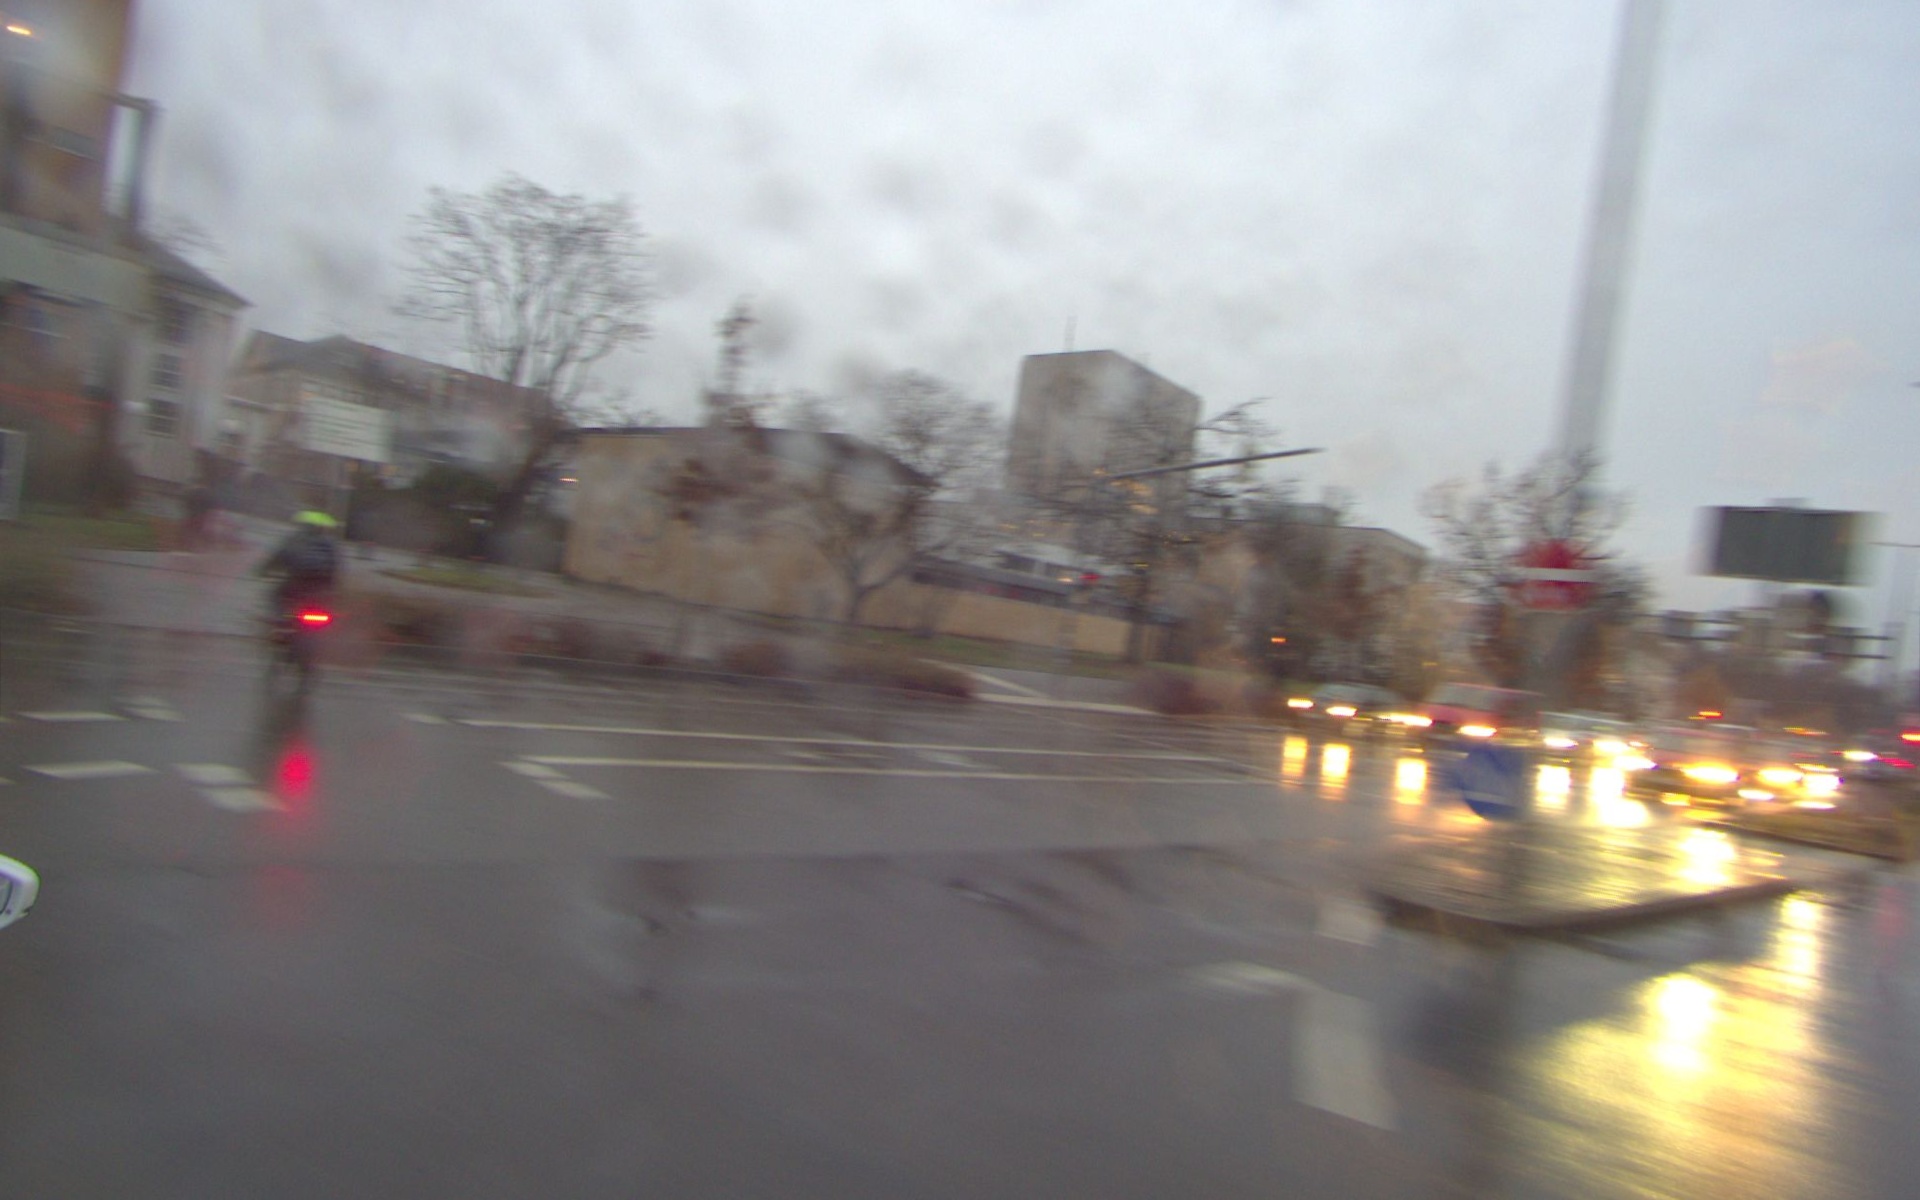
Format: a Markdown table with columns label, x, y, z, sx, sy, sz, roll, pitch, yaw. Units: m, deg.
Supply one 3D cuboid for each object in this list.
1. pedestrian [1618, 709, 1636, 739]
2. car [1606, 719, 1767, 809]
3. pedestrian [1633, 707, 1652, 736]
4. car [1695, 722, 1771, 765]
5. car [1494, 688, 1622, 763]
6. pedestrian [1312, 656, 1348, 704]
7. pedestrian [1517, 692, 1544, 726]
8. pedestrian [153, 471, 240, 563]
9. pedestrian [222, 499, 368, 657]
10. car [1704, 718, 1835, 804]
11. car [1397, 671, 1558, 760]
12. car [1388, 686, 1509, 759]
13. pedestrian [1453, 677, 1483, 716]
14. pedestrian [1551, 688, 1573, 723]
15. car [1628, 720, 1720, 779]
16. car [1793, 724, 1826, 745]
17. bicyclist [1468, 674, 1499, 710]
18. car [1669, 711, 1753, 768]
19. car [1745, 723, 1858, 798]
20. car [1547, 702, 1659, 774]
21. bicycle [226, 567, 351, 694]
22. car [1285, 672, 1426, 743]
| label | x | y | z | sx | sy | sz | roll | pitch | yaw |
| --- | --- | --- | --- | --- | --- | --- | --- | --- | --- |
| pedestrian | 48.731 | 9.062 | 73.497 | 0.768 | 2.039 | 0.756 | 7 | 2 | -44 |
| car | 15.838 | 3.517 | 21.828 | 4.471 | 1.393 | 1.907 | 8 | 1 | -43 |
| pedestrian | 45.021 | 8.010 | 66.359 | 0.931 | 1.822 | 0.616 | 8 | 1 | -41 |
| car | 36.875 | 6.841 | 47.931 | 4.733 | 1.587 | 1.974 | 8 | 2 | -43 |
| car | 17.952 | 3.783 | 30.119 | 4.443 | 1.771 | 1.975 | 8 | 1 | -43 |
| pedestrian | 15.661 | 3.370 | 42.568 | 0.829 | 1.848 | 0.921 | 7 | 2 | -43 |
| pedestrian | 33.543 | 6.405 | 59.131 | 0.829 | 1.848 | 0.921 | 7 | 2 | -43 |
| pedestrian | -16.243 | -1.758 | 21.407 | 0.895 | 1.708 | 0.928 | 11 | 1 | 18 |
| pedestrian | -6.317 | -0.204 | 9.553 | 0.837 | 1.333 | 0.873 | 10 | 2 | 43 |
| car | 21.876 | 4.299 | 27.116 | 4.443 | 1.771 | 1.975 | 8 | 1 | -43 |
| car | 13.395 | 3.015 | 25.894 | 4.915 | 1.771 | 1.975 | 8 | 1 | -43 |
| car | 15.925 | 4.007 | 32.720 | 3.974 | 1.860 | 1.976 | 9 | 0 | -42 |
| pedestrian | 26.365 | 5.023 | 52.248 | 0.829 | 1.848 | 0.921 | 7 | 2 | -43 |
| pedestrian | 37.506 | 6.581 | 62.657 | 0.905 | 2.039 | 0.756 | 7 | 2 | -44 |
| car | 27.518 | 5.768 | 38.725 | 3.976 | 1.793 | 1.975 | 9 | 0 | -43 |
| car | 90.228 | 14.302 | 106.877 | 3.976 | 1.838 | 2.116 | 8 | 1 | -44 |
| bicyclist | 23.988 | 4.232 | 46.106 | 0.988 | 1.508 | 0.758 | 7 | 2 | -43 |
| car | 32.119 | 5.988 | 42.974 | 4.242 | 1.947 | 1.975 | 9 | 0 | -43 |
| car | 26.204 | 4.952 | 31.271 | 4.443 | 1.771 | 1.974 | 8 | 2 | -43 |
| car | 21.470 | 4.609 | 33.515 | 3.975 | 1.927 | 1.976 | 9 | 0 | -42 |
| bicycle | -6.659 | 0.269 | 9.930 | 0.560 | 0.958 | 2.068 | 7 | 1 | -45 |
| car | 10.984 | 2.992 | 27.771 | 4.443 | 1.505 | 1.752 | 8 | 1 | -43 |
